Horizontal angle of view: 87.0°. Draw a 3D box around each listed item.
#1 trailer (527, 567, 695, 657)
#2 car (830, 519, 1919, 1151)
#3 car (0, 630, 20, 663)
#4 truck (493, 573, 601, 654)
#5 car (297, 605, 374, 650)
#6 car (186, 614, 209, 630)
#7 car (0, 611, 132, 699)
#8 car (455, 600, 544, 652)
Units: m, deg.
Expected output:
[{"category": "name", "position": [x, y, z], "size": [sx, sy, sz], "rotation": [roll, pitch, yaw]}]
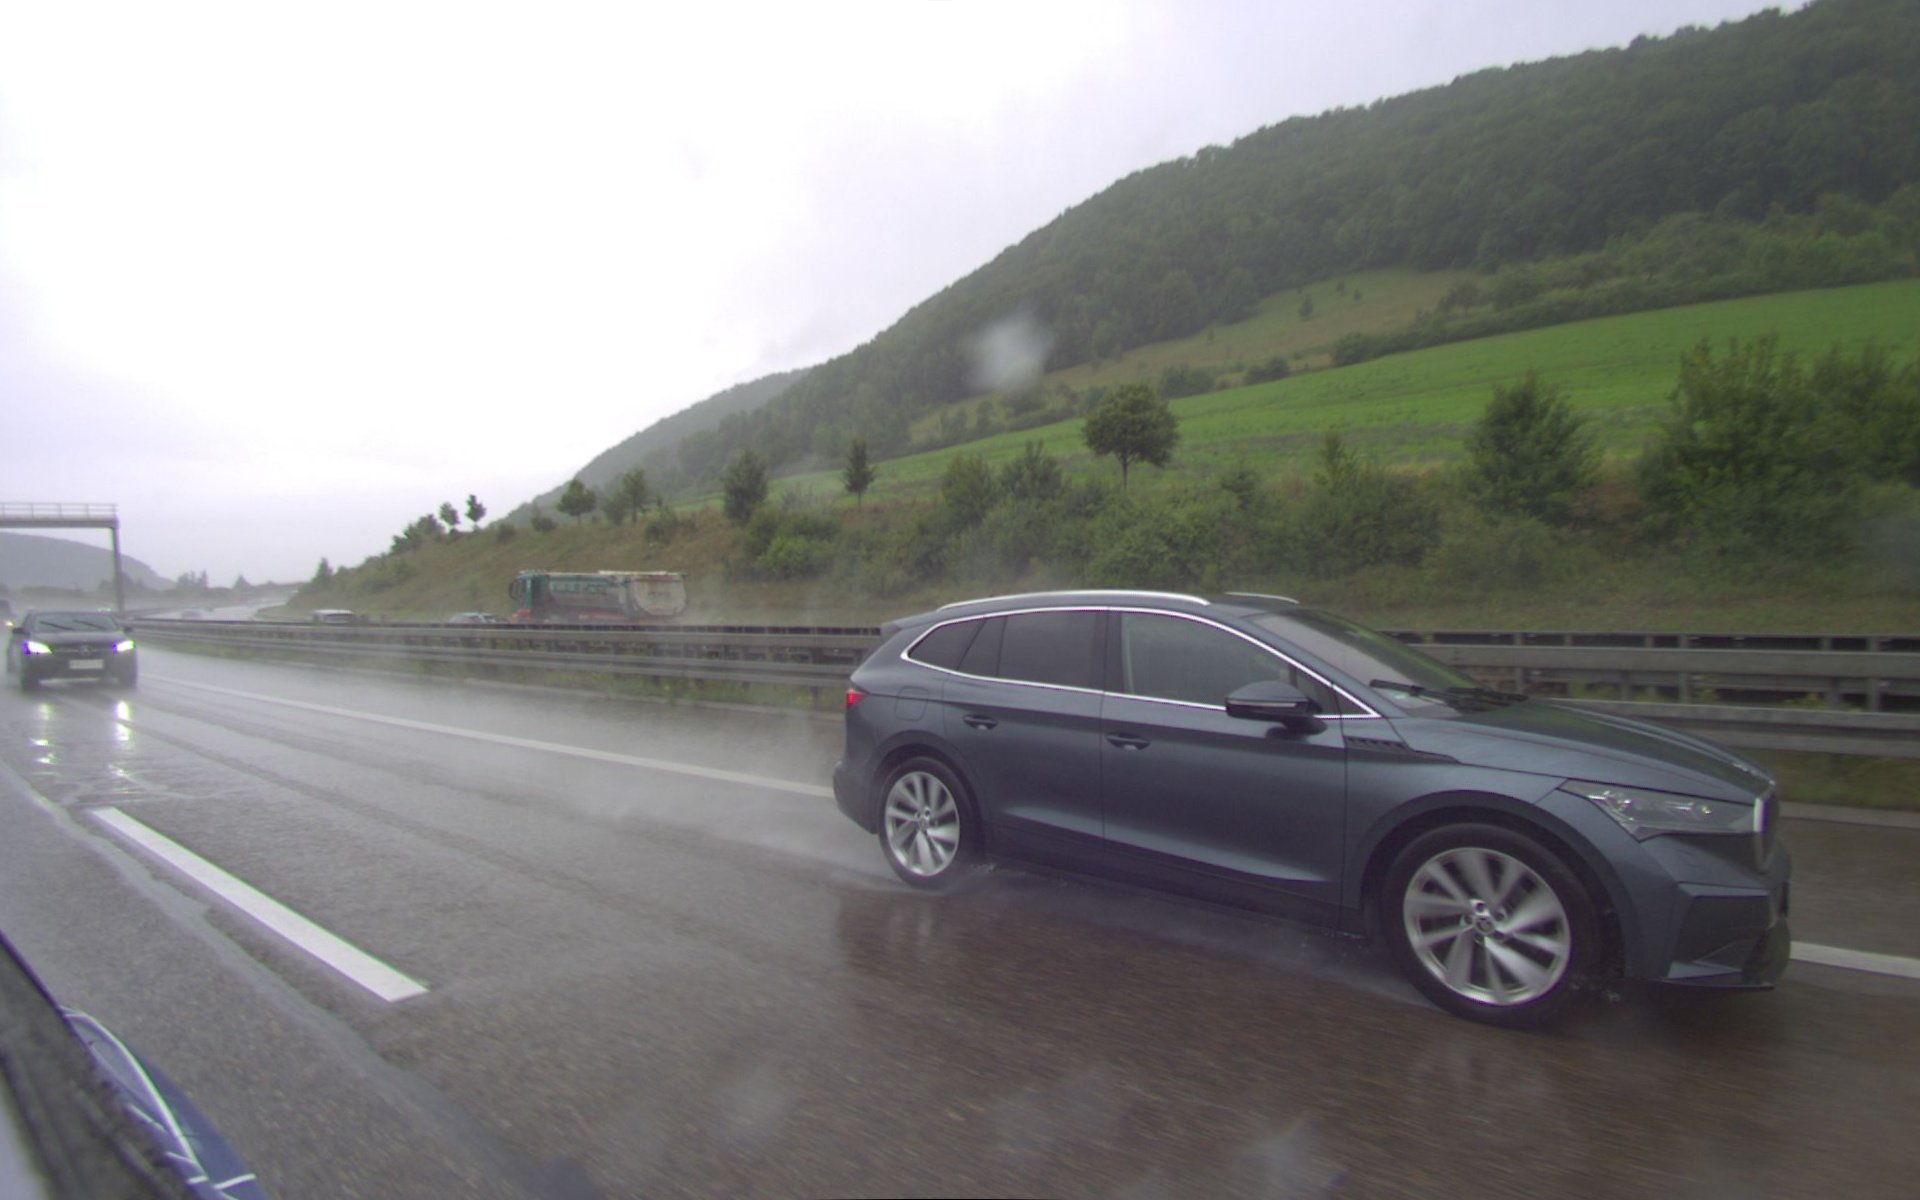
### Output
[{"category": "trailer", "position": [-15.289, 0.560, 43.805], "size": [9.393, 3.517, 2.691], "rotation": [-1, -1, 42]}, {"category": "car", "position": [1.742, 0.659, 4.825], "size": [4.908, 1.696, 1.972], "rotation": [0, -2, 42]}, {"category": "car", "position": [-60.236, 2.904, 63.082], "size": [3.930, 2.029, 1.962], "rotation": [-2, -1, 40]}, {"category": "truck", "position": [-19.465, 0.625, 47.600], "size": [5.309, 3.569, 2.687], "rotation": [-1, -1, 42]}, {"category": "car", "position": [-27.534, 1.187, 44.584], "size": [3.999, 1.860, 1.839], "rotation": [-1, -1, 42]}, {"category": "car", "position": [-88.573, 2.589, 117.595], "size": [3.684, 1.807, 1.660], "rotation": [-1, -1, 45]}, {"category": "car", "position": [-19.986, 1.136, 22.267], "size": [3.741, 1.715, 1.794], "rotation": [0, 1, 35]}, {"category": "car", "position": [-19.208, 1.059, 42.179], "size": [3.998, 2.029, 1.894], "rotation": [-1, -1, 41]}]
